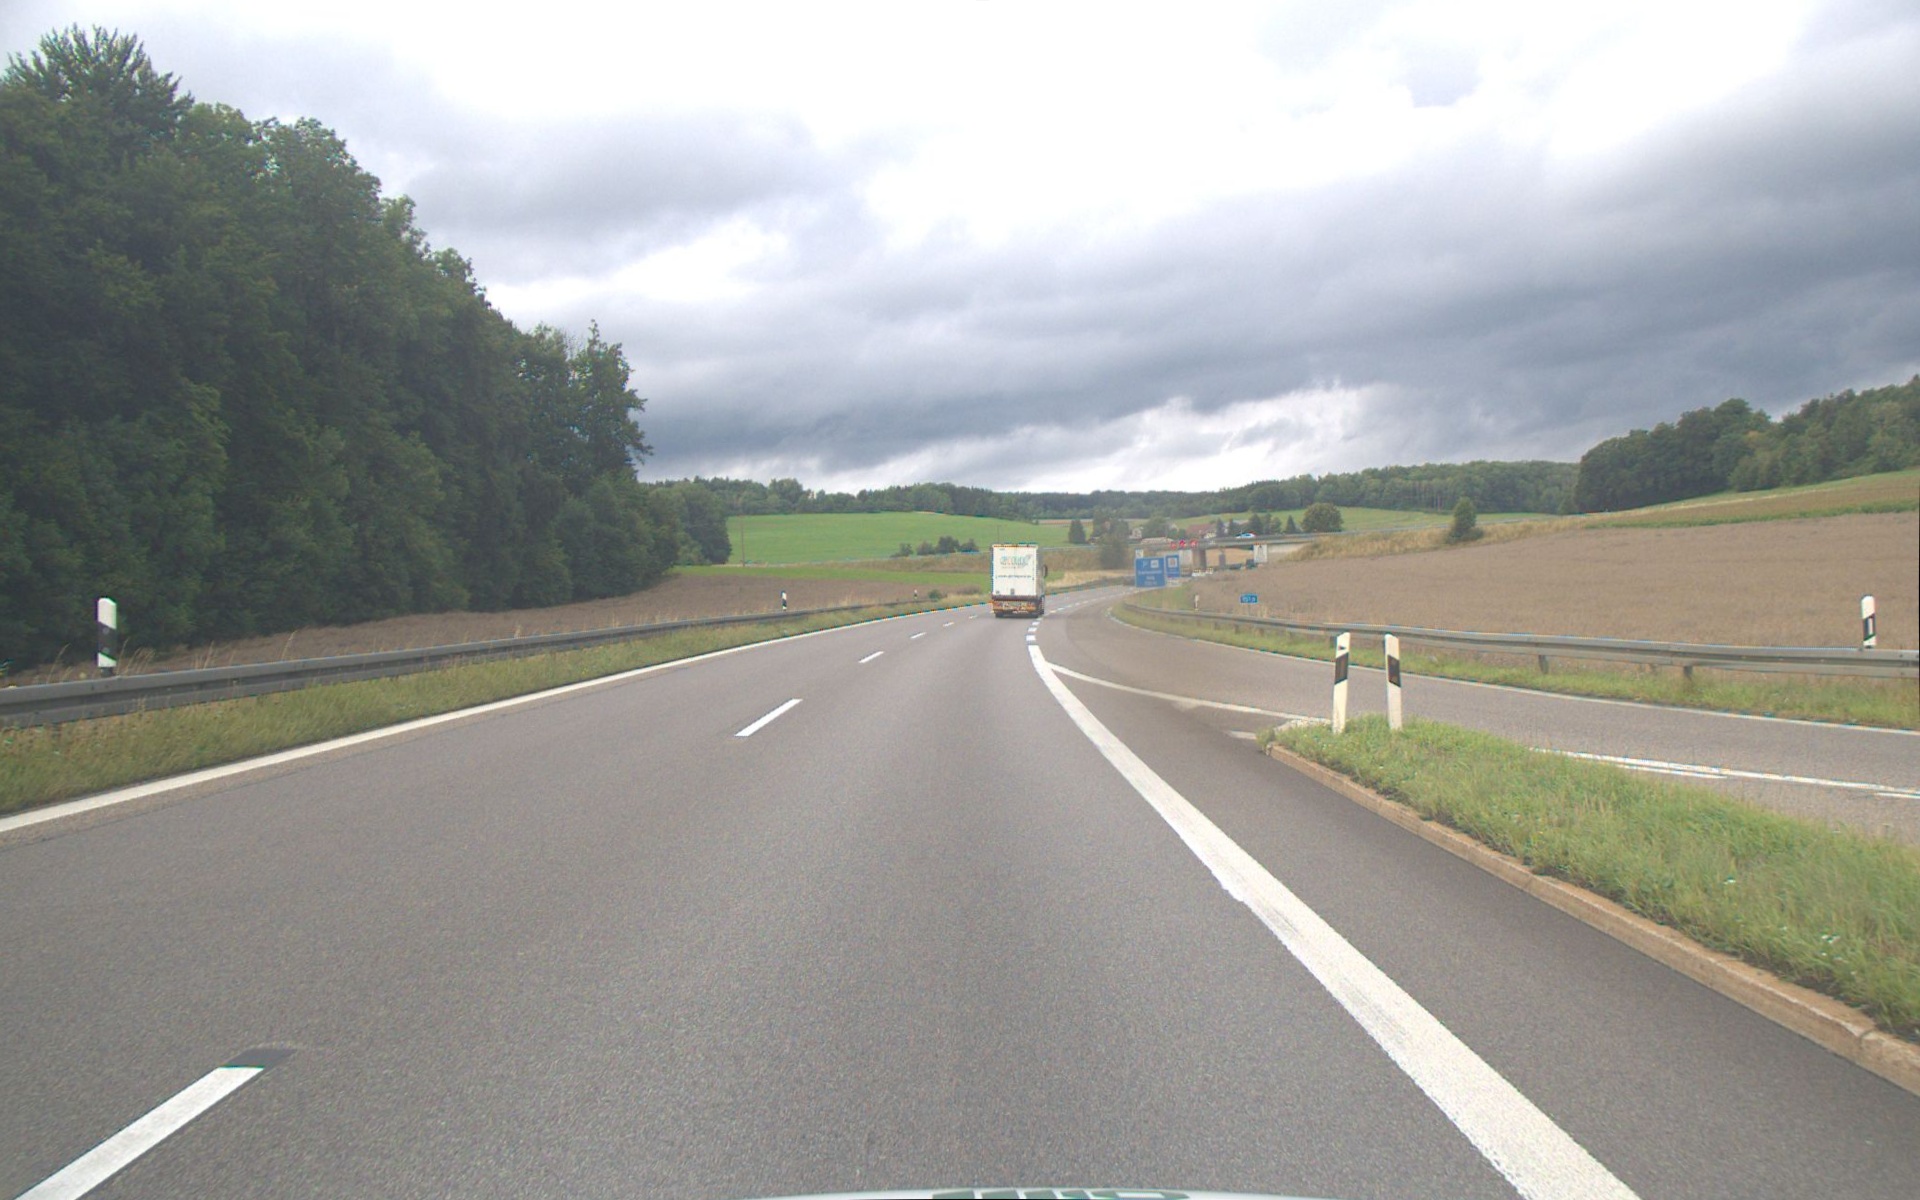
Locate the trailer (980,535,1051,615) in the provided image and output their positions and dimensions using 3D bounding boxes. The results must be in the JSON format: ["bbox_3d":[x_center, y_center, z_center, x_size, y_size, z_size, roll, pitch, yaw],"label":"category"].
[{"bbox_3d":[3.357,-1.378,96.119,3.726,4.247,14.814,-1,0,3],"label":"trailer"}]

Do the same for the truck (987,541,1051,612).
[{"bbox_3d":[3.721,-1.431,102.790,3.708,4.204,8.268,-1,0,3],"label":"truck"}]
